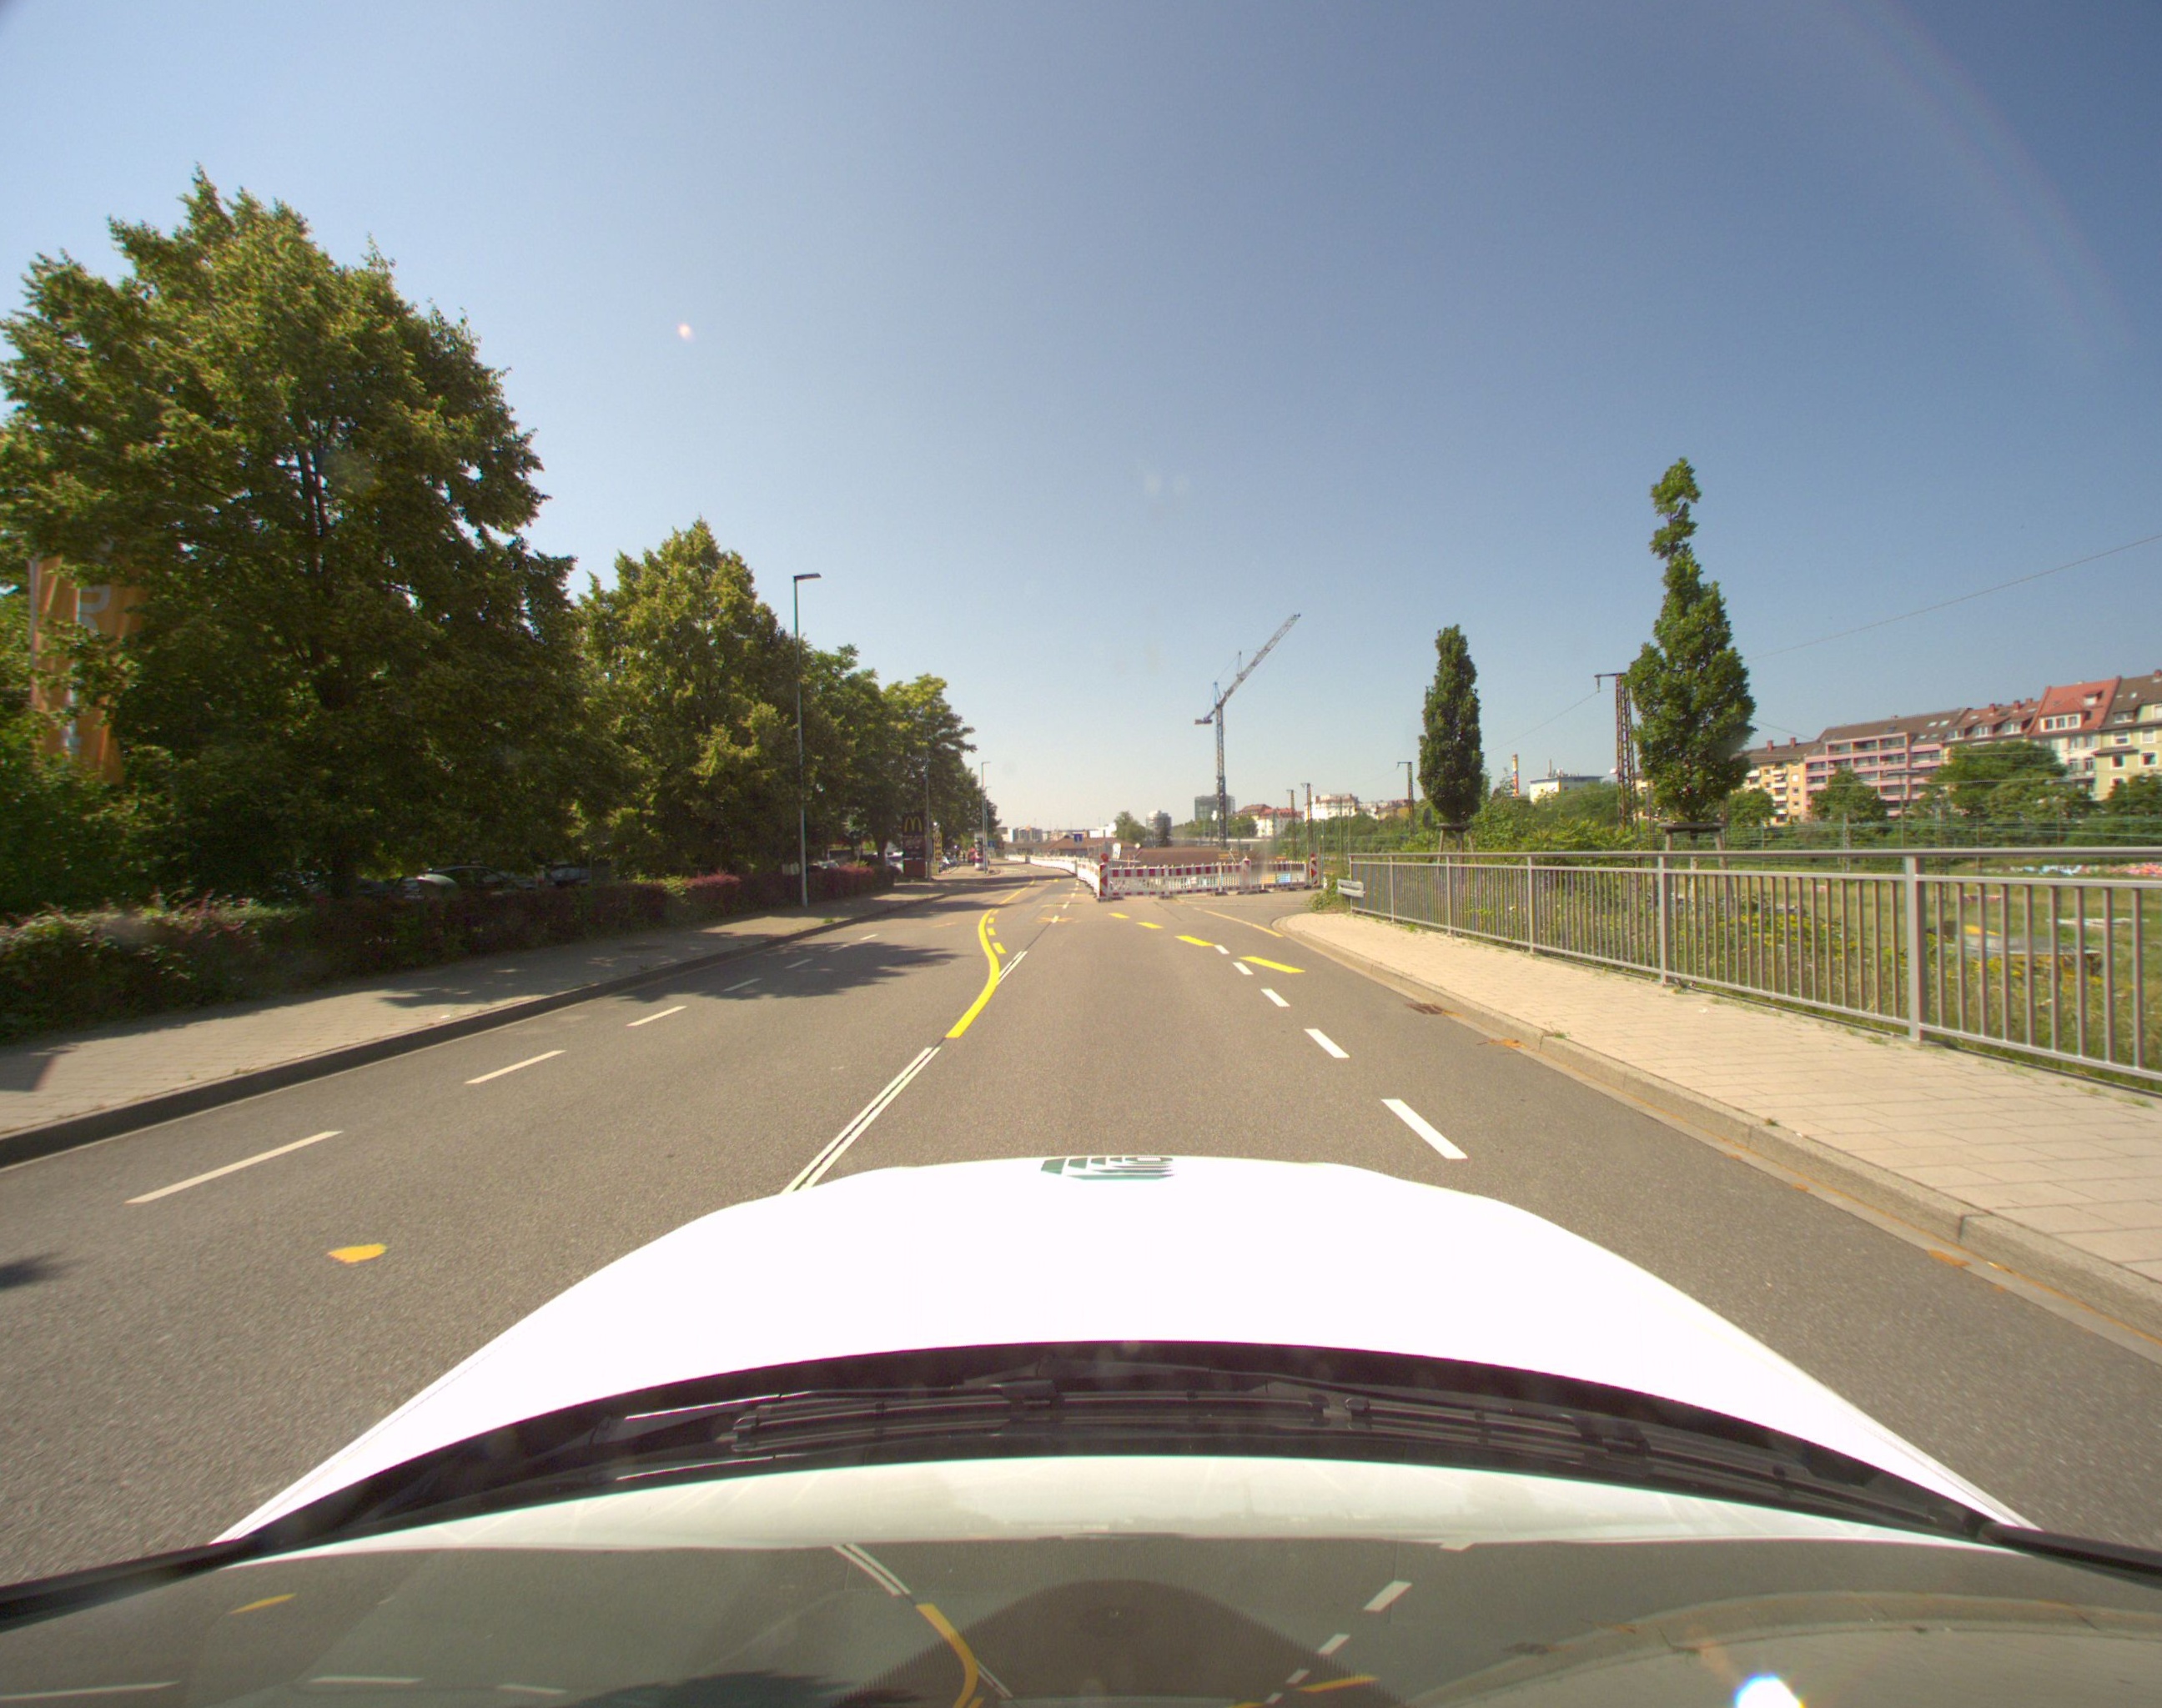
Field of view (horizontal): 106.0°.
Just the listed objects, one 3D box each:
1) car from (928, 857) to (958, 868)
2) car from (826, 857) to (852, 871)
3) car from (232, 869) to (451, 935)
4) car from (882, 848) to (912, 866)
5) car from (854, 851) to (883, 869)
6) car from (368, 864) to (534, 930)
[{"bbox_3d":[-18.415,1.132,108.809,3.641,1.421,1.582,-2,0,26],"label":"car"},{"bbox_3d":[-26.543,1.109,89.187,1.579,1.421,3.647,-1,0,-36],"label":"car"},{"bbox_3d":[-20.487,1.255,22.911,1.776,1.510,4.657,-2,0,1],"label":"car"},{"bbox_3d":[-21.036,0.385,93.151,1.838,1.929,3.954,-1,0,-38],"label":"car"},{"bbox_3d":[-23.498,0.646,90.033,2.008,1.904,3.958,-1,0,-33],"label":"car"},{"bbox_3d":[-17.948,1.161,23.447,1.675,1.603,3.759,-2,0,2],"label":"car"}]
